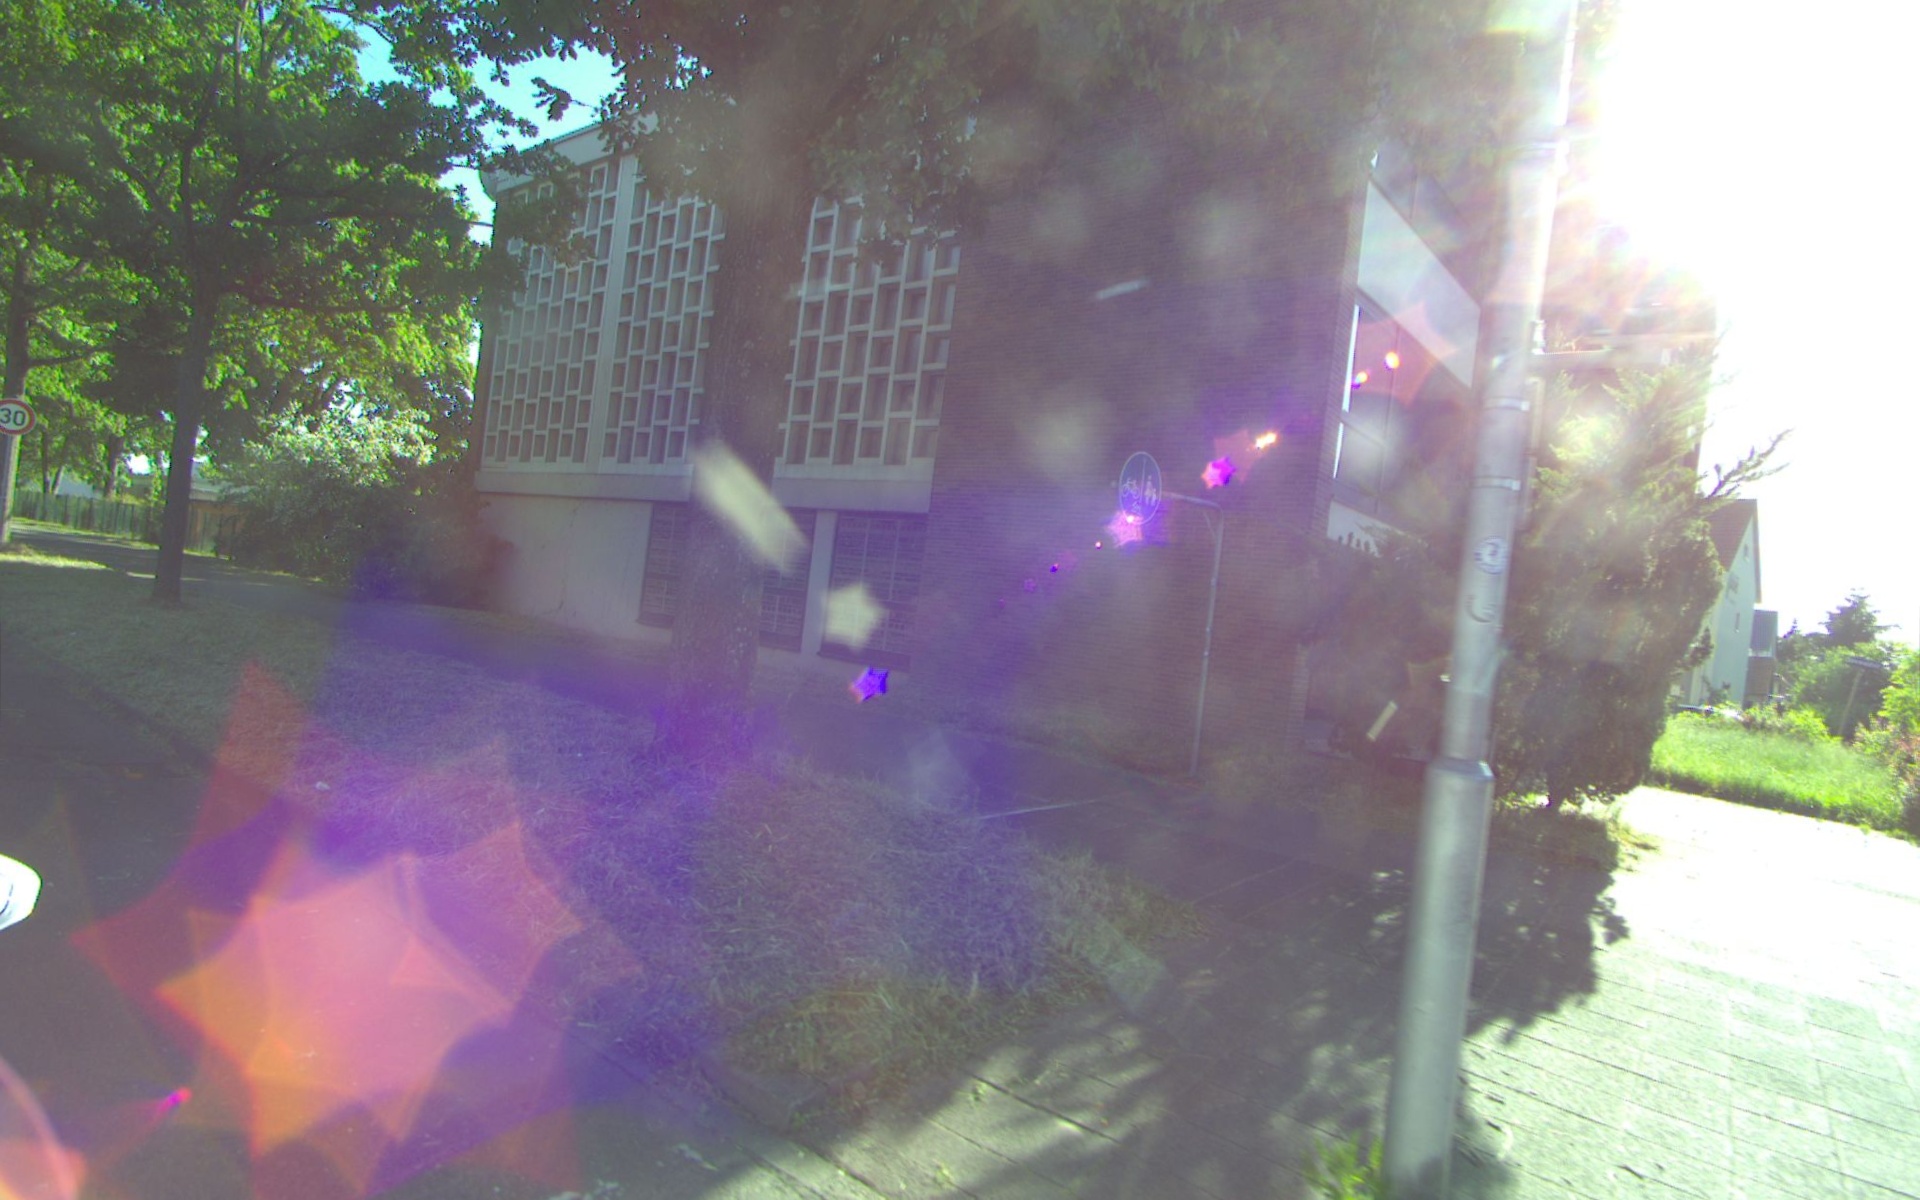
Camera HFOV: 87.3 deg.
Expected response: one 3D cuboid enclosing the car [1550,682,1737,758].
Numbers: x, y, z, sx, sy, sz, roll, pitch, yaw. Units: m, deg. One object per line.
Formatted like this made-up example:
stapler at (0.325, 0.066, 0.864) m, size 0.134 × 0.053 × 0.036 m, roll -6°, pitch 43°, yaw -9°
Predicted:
car at (19.682, 3.442, 29.067) m, size 4.152 × 1.520 × 1.798 m, roll 6°, pitch -2°, yaw 43°
